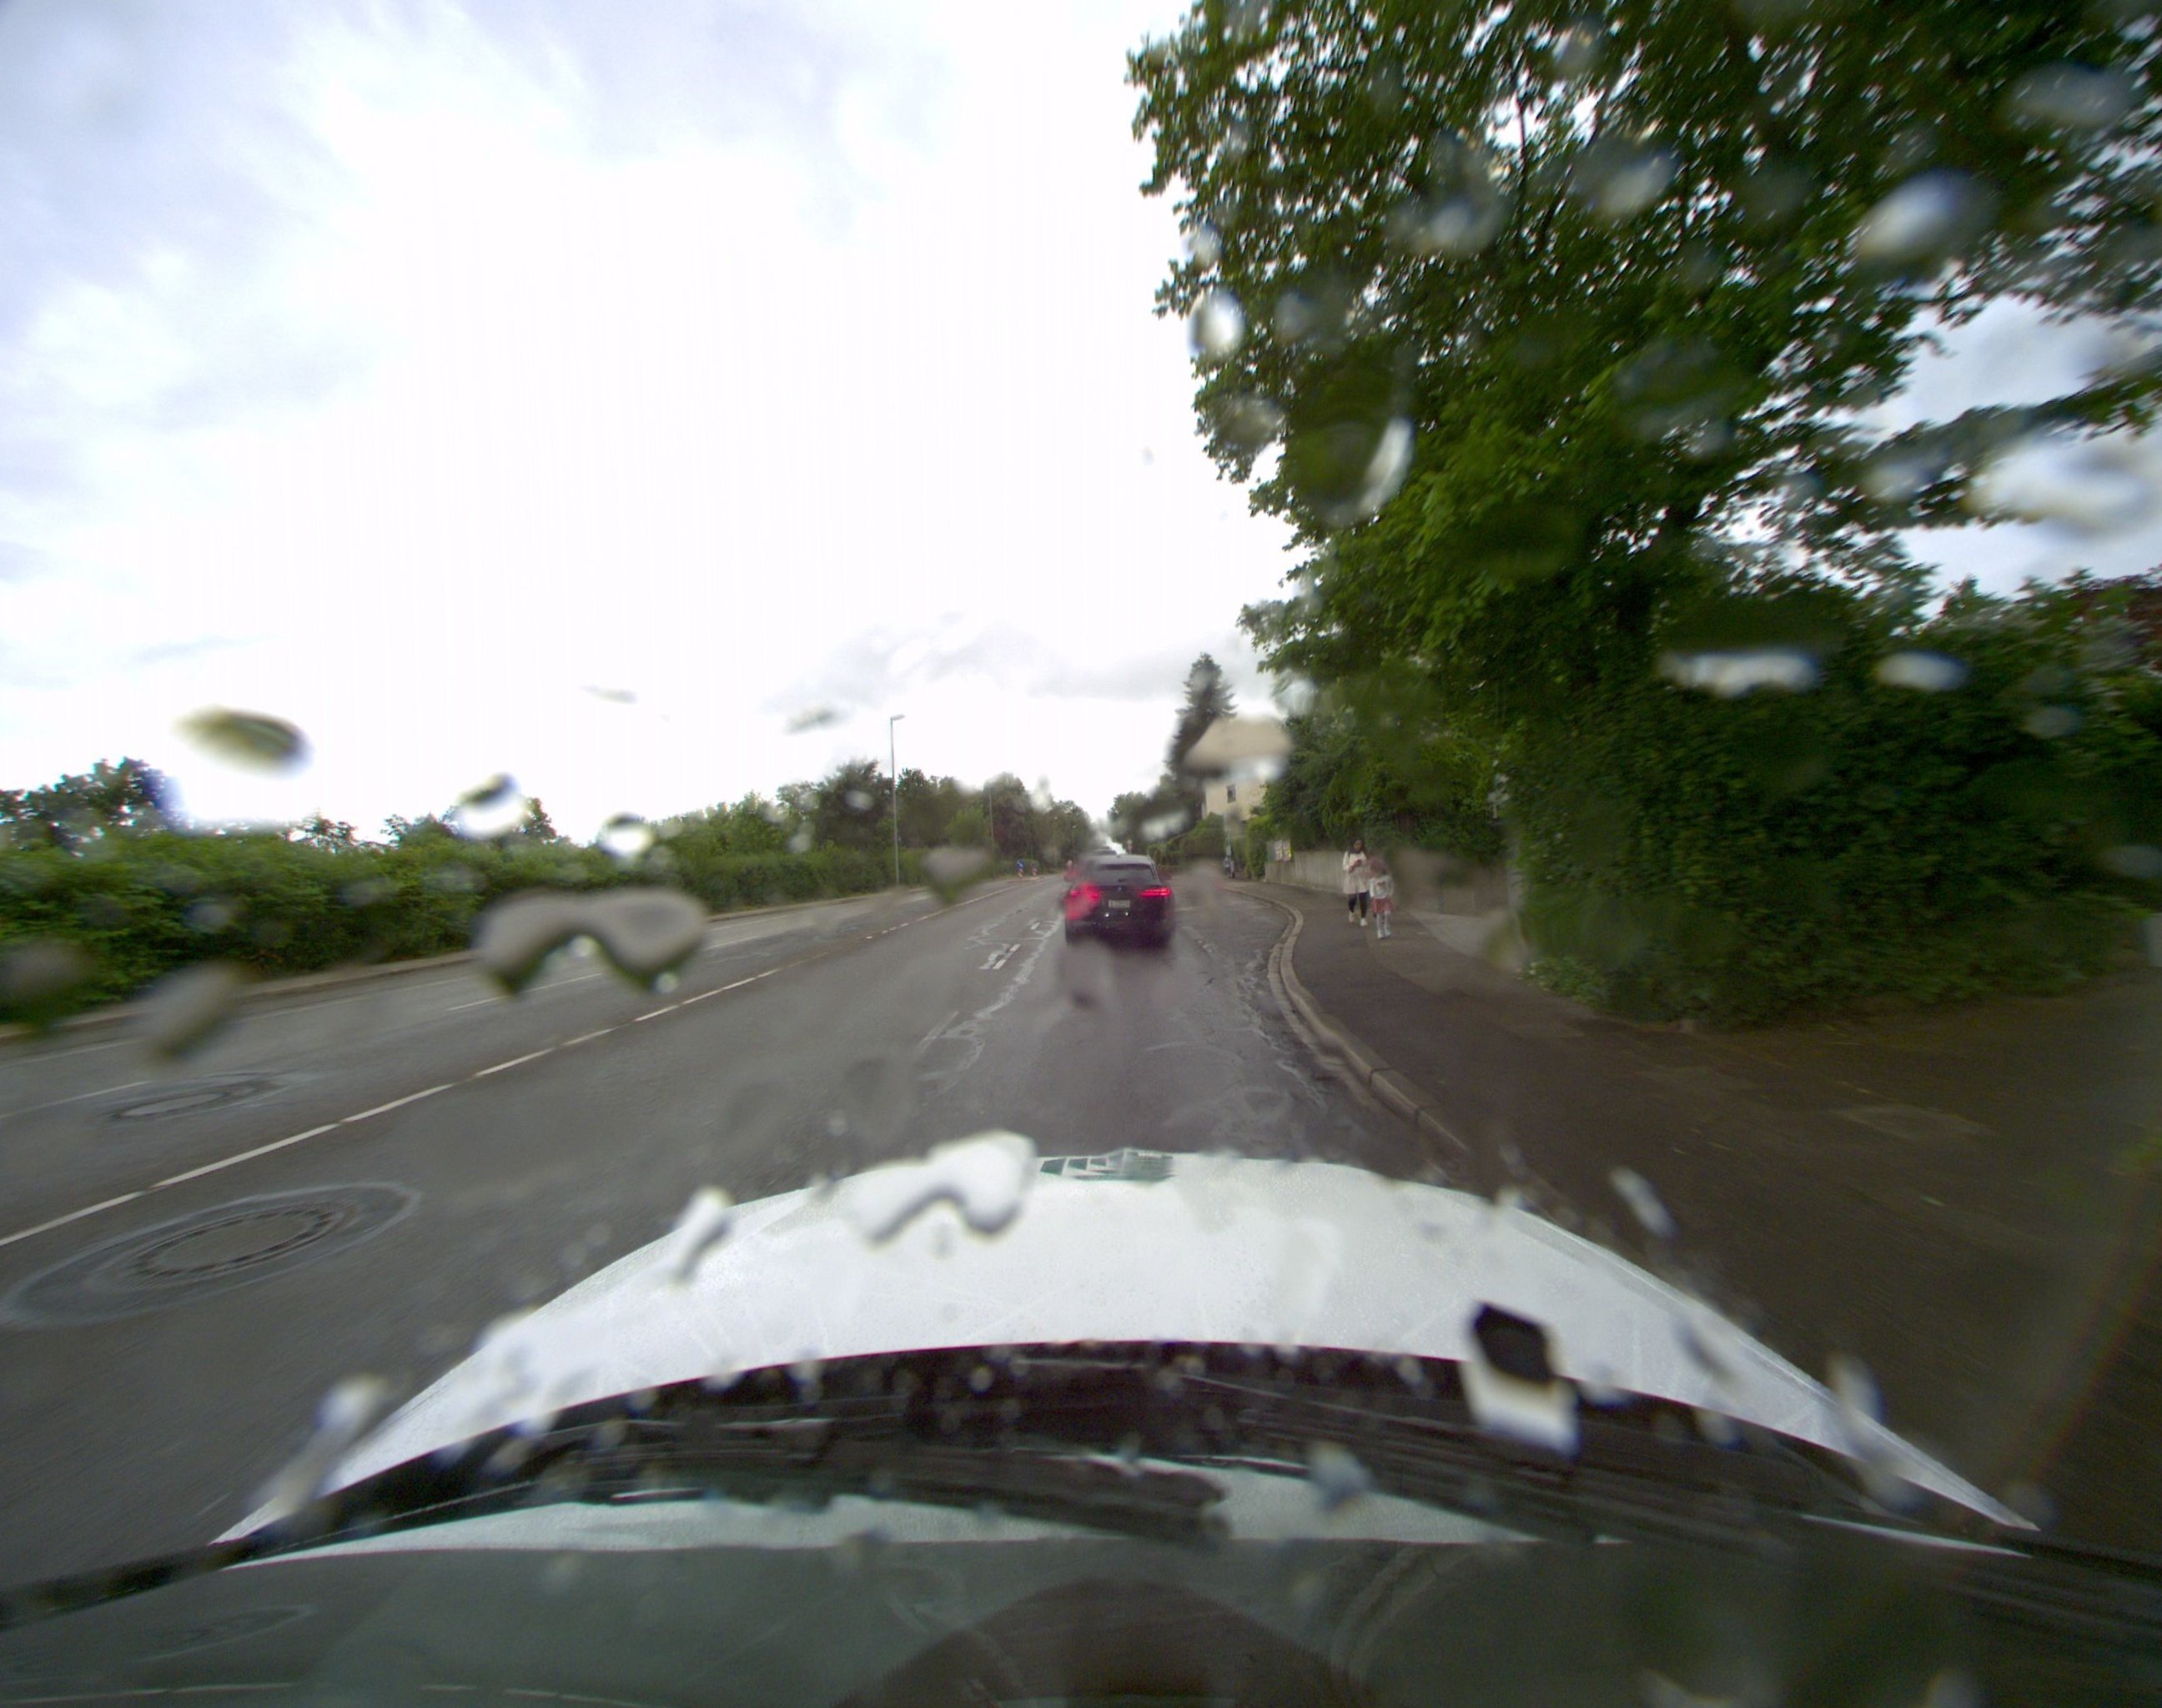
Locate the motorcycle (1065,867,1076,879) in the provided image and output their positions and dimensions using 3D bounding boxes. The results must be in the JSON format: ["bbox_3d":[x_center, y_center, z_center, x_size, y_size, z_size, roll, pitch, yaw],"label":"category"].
[{"bbox_3d":[-1.015,1.794,78.152,0.872,1.124,2.742,-1,-1,2],"label":"motorcycle"}]

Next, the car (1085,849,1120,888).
[{"bbox_3d":[1.107,0.715,41.792,1.623,1.833,4.001,-3,0,2],"label":"car"}]

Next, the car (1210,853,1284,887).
[{"bbox_3d":[9.526,0.969,46.854,3.706,1.299,1.761,10,-6,-18],"label":"car"}]

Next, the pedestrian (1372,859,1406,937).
[{"bbox_3d":[4.644,0.652,12.300,0.365,1.146,0.367,-3,-1,10],"label":"pedestrian"}]

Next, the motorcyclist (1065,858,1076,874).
[{"bbox_3d":[-1.022,1.158,78.179,1.036,1.568,0.855,-1,-1,1],"label":"motorcyclist"}]

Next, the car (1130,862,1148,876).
[{"bbox_3d":[6.723,1.713,94.011,1.927,1.442,4.412,-4,-1,4],"label":"car"}]

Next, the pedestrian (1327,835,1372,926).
[{"bbox_3d":[4.876,0.477,14.810,0.606,1.593,0.648,-3,-1,10],"label":"pedestrian"}]

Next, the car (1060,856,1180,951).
[{"bbox_3d":[0.711,0.809,14.932,1.889,1.489,4.002,-1,-1,3],"label":"car"}]

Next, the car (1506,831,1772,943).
[{"bbox_3d":[9.376,0.621,13.606,4.614,1.421,1.773,6,-5,-28],"label":"car"}]
